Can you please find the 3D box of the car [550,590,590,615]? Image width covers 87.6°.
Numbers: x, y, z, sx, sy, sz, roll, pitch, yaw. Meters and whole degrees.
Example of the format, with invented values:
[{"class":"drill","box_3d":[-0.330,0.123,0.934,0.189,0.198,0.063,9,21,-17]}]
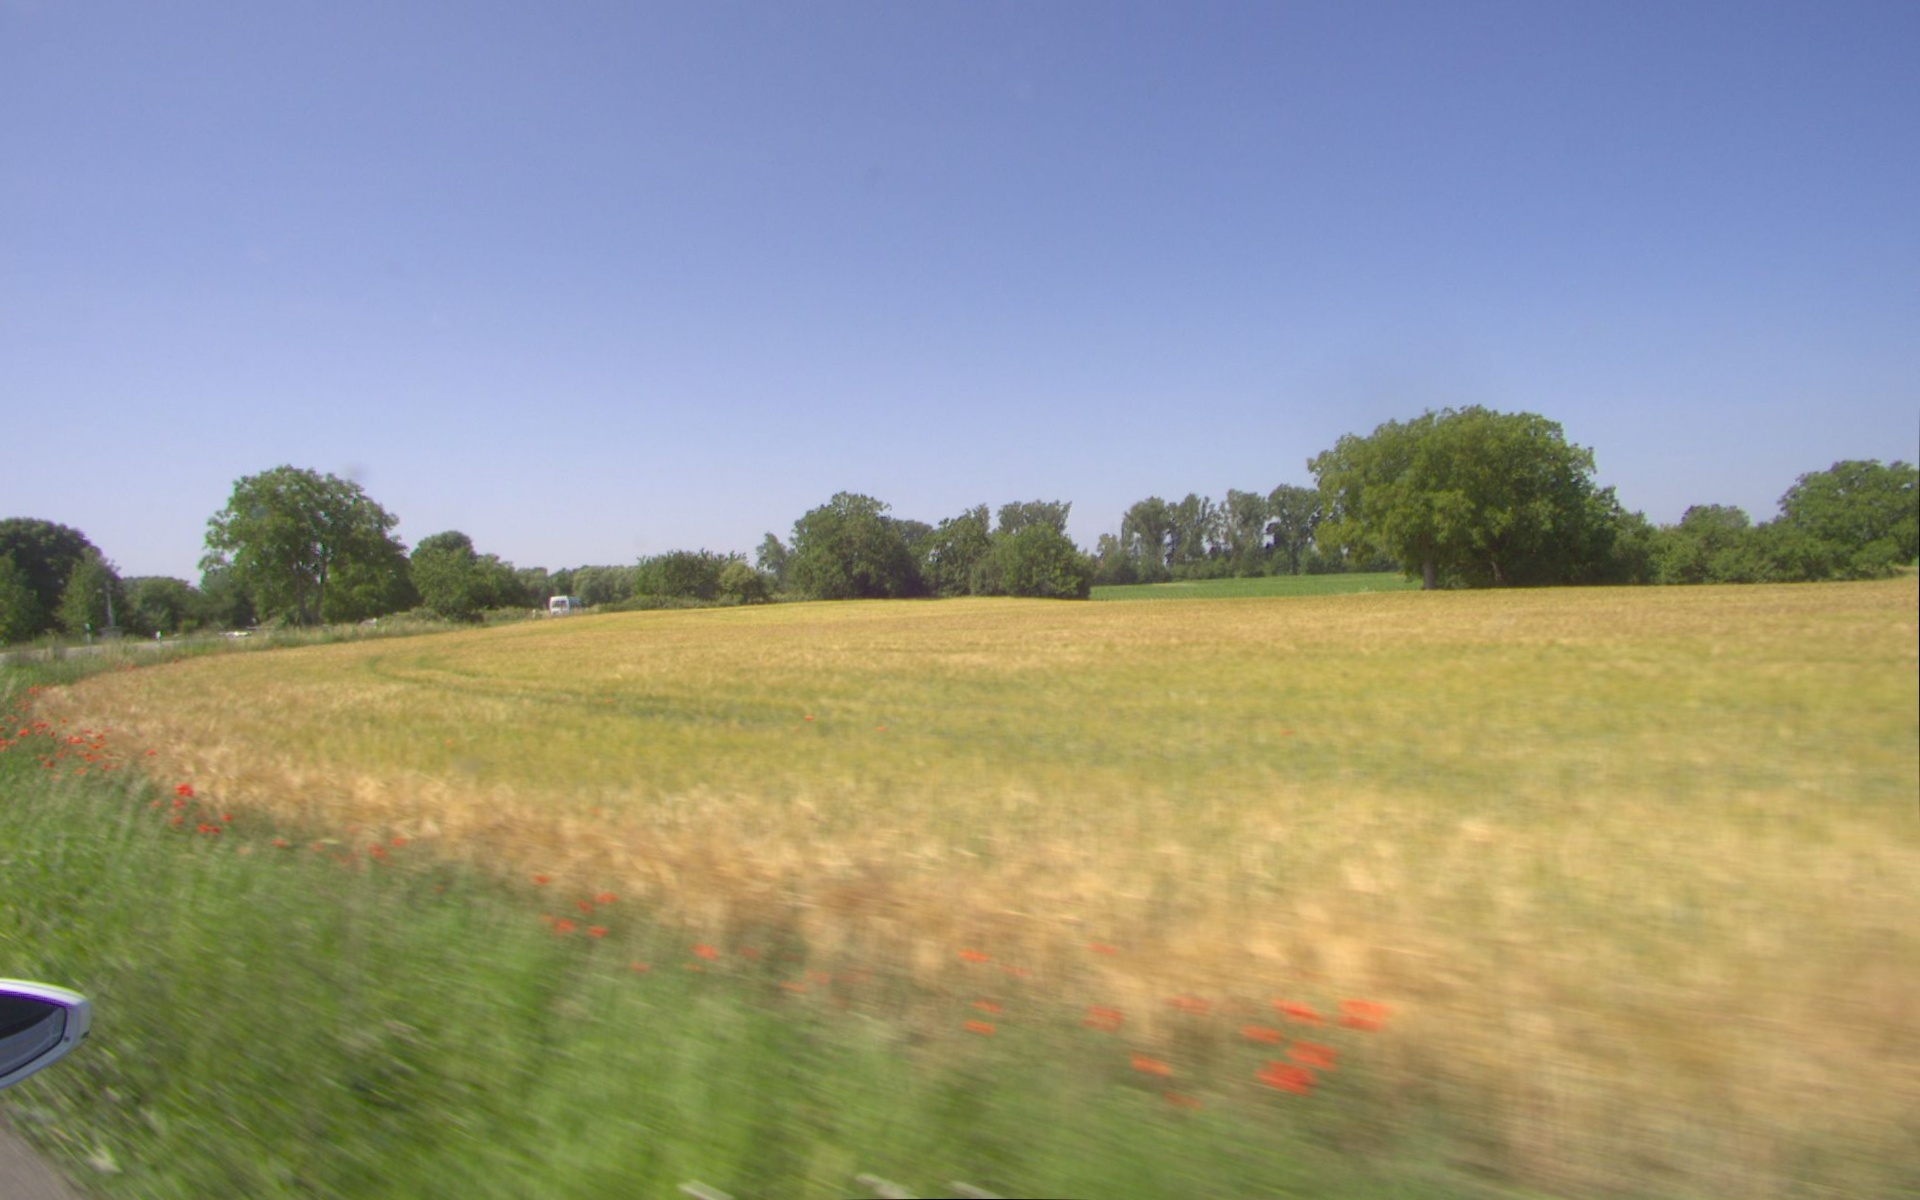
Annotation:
[{"class":"car","box_3d":[-40.286,0.220,103.535,2.070,2.399,5.683,-2,1,-3]}]
